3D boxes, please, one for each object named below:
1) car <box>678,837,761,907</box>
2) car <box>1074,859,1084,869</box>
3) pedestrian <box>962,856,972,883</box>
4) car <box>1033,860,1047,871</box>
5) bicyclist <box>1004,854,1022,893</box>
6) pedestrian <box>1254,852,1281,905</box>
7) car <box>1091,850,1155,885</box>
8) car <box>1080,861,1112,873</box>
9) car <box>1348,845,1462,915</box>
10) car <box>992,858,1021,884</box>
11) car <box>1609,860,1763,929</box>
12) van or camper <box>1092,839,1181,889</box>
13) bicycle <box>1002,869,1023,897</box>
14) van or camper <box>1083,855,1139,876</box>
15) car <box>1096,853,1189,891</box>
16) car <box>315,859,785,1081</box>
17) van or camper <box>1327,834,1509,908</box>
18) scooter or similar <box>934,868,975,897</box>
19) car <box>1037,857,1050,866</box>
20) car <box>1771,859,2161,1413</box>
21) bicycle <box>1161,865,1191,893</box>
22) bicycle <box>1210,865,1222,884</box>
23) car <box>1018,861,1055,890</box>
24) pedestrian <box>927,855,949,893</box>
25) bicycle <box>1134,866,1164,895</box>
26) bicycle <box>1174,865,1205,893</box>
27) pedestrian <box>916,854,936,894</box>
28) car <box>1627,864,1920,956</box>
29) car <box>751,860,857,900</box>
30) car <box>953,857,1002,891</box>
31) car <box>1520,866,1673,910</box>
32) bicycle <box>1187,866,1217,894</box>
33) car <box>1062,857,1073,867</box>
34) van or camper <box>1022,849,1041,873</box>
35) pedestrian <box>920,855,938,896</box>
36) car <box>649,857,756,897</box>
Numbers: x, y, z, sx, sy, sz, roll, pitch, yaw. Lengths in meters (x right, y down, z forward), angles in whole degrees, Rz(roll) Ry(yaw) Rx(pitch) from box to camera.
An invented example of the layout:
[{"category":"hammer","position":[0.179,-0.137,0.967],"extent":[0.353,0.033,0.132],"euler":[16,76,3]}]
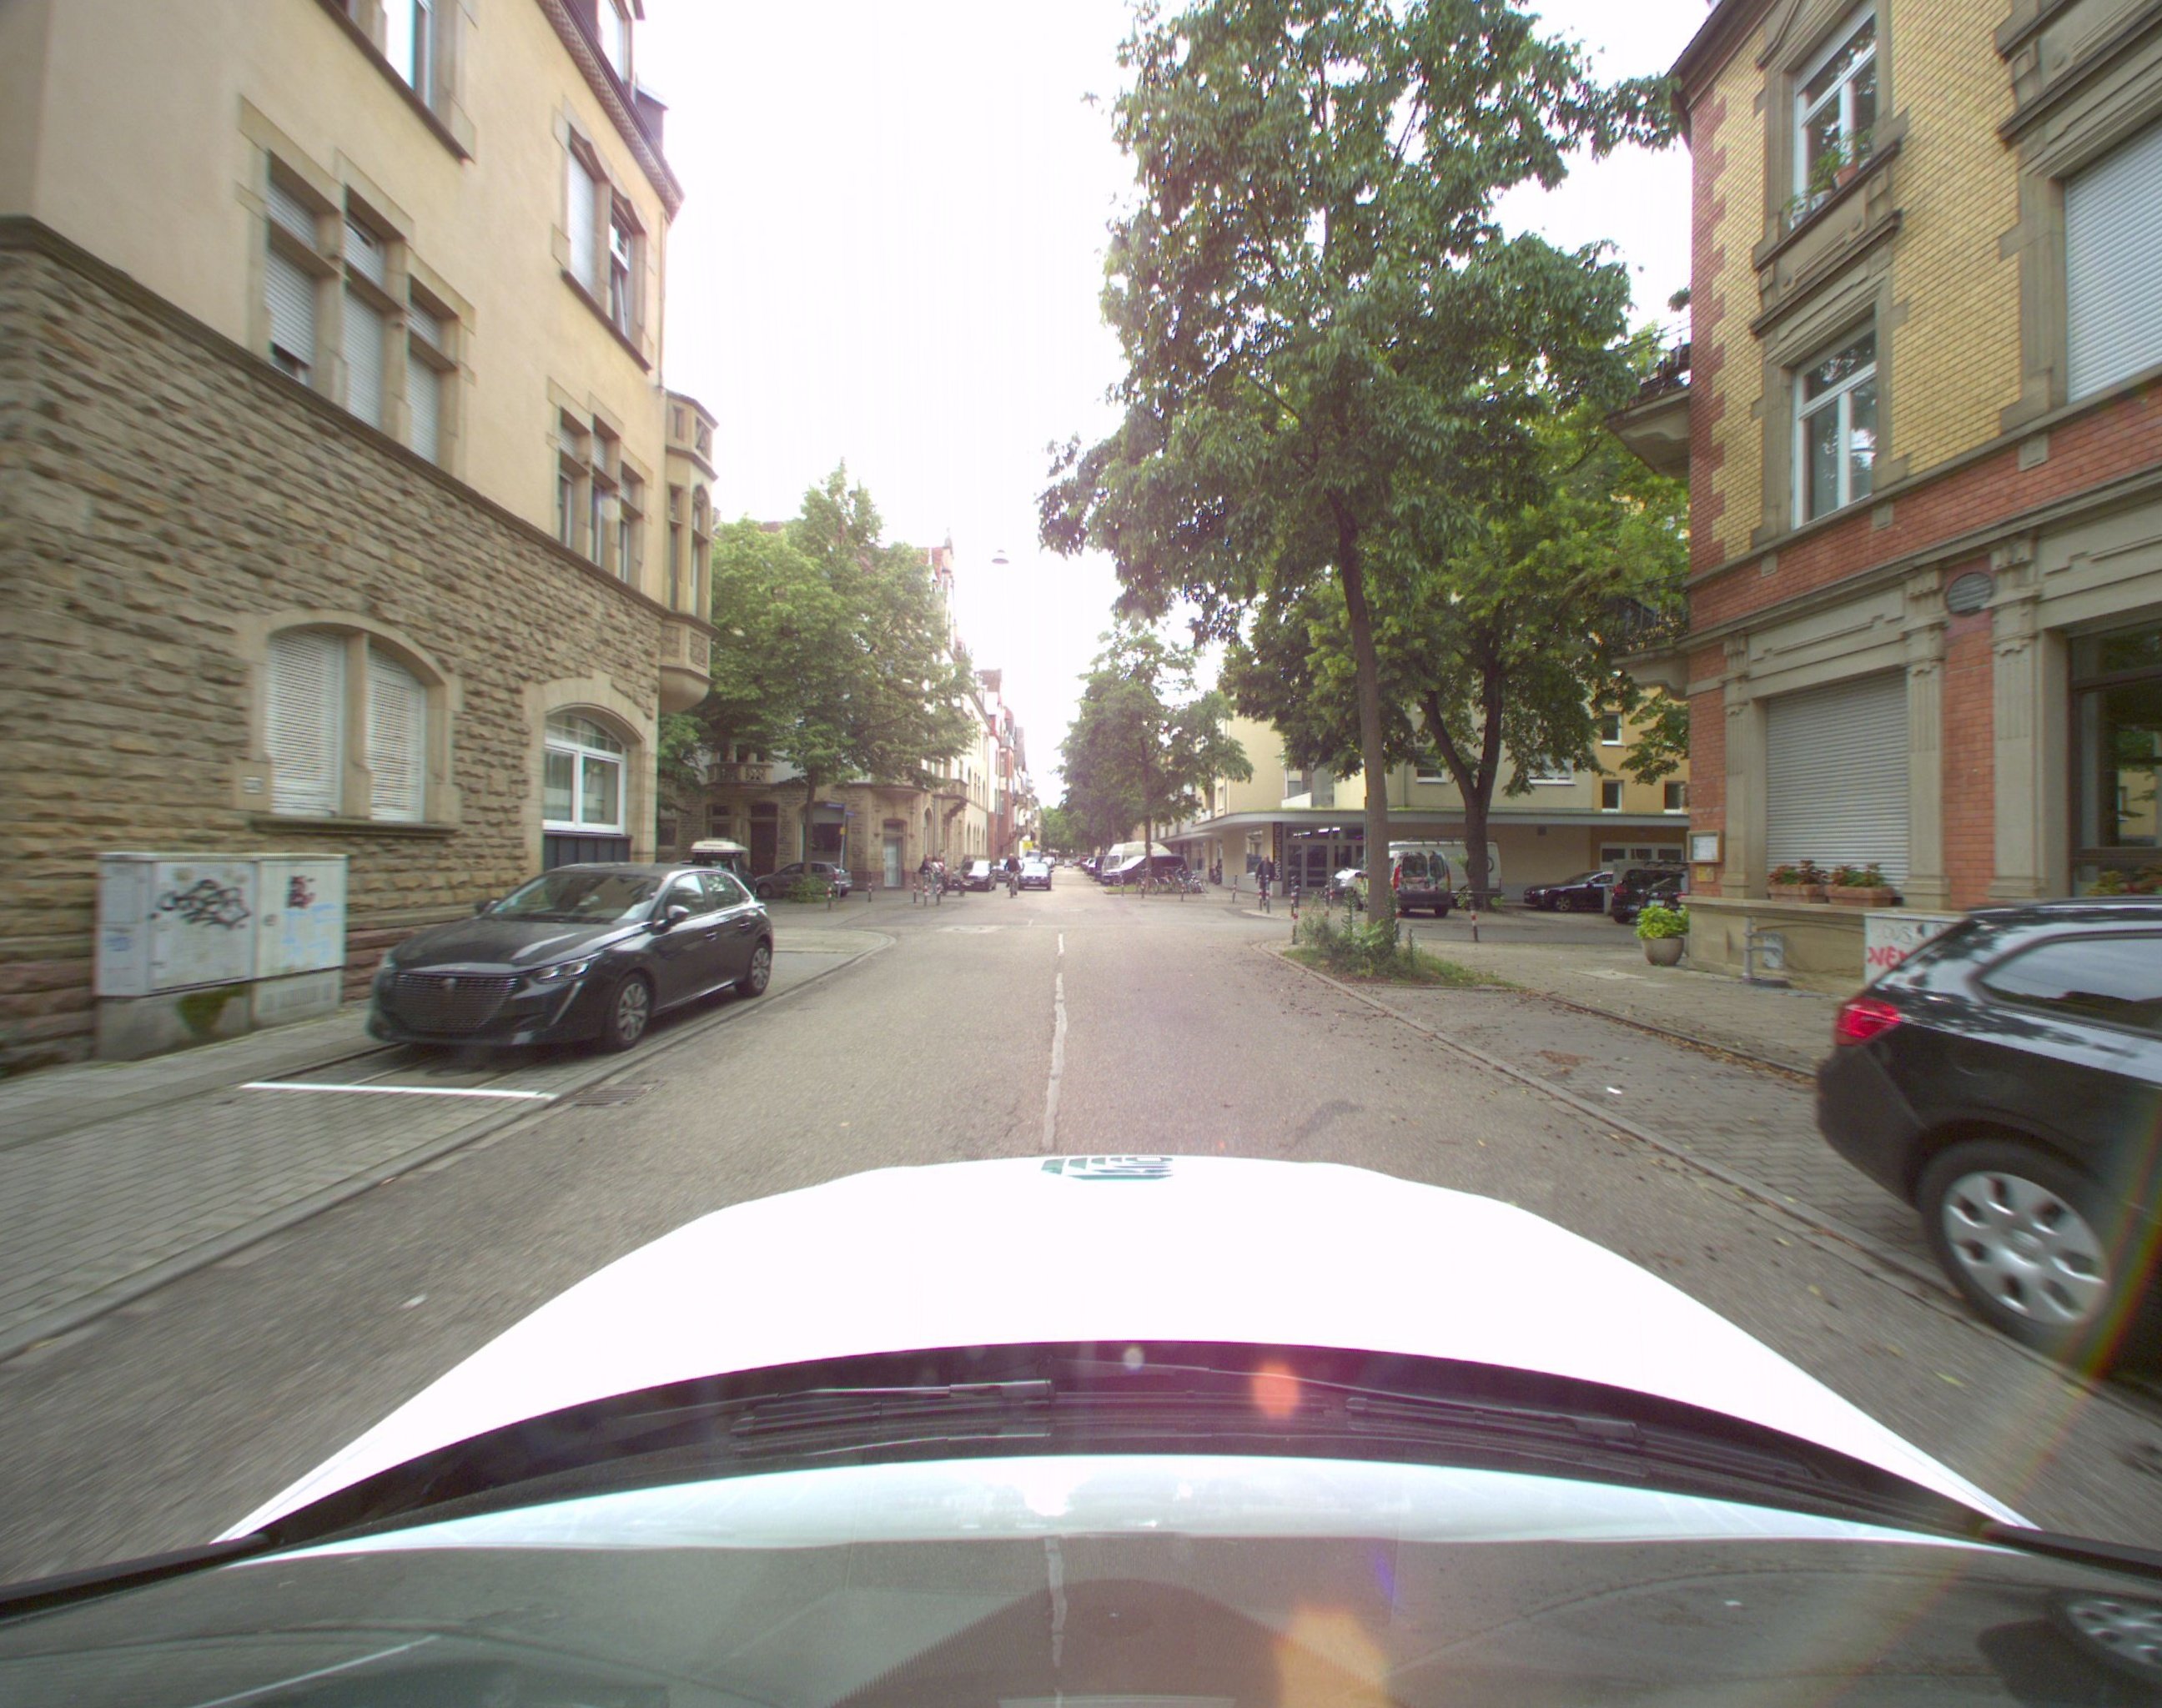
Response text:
[{"category":"car","position":[-10.987,0.514,25.009],"extent":[1.831,1.968,3.939],"euler":[0,-1,-17]},{"category":"car","position":[-0.501,2.228,182.863],"extent":[1.988,2.014,3.997],"euler":[3,-1,-1]},{"category":"pedestrian","position":[-6.616,0.898,47.134],"extent":[0.514,1.518,0.546],"euler":[0,-1,-1]},{"category":"car","position":[-5.822,1.672,115.628],"extent":[1.784,1.480,4.020],"euler":[1,-1,-1]},{"category":"bicyclist","position":[-2.711,0.763,32.565],"extent":[0.645,1.538,0.677],"euler":[0,-1,1]},{"category":"pedestrian","position":[6.418,0.838,28.059],"extent":[0.776,1.797,0.509],"euler":[1,-1,1]},{"category":"car","position":[2.800,0.877,53.129],"extent":[2.040,2.196,4.426],"euler":[0,-1,36]},{"category":"car","position":[2.079,1.789,112.485],"extent":[4.037,1.559,1.866],"euler":[1,-1,-32]},{"category":"car","position":[9.036,0.683,23.076],"extent":[1.763,1.819,4.001],"euler":[0,0,2]},{"category":"car","position":[-4.859,1.088,53.404],"extent":[1.642,1.570,2.955],"euler":[2,0,-2]},{"category":"car","position":[15.387,0.962,20.691],"extent":[3.963,1.581,1.669],"euler":[0,0,-29]},{"category":"van or camper","position":[3.042,0.529,44.243],"extent":[4.614,2.596,1.891],"euler":[1,-1,-34]},{"category":"bicycle","position":[-2.715,1.151,32.601],"extent":[0.631,1.094,1.799],"euler":[0,-1,1]},{"category":"van or camper","position":[2.918,1.090,79.200],"extent":[5.035,1.869,2.107],"euler":[-1,-1,-29]},{"category":"car","position":[3.147,0.910,41.395],"extent":[4.354,1.854,1.895],"euler":[1,-1,-26]},{"category":"car","position":[-4.300,0.799,7.461],"extent":[1.722,1.434,3.880],"euler":[2,0,-1]},{"category":"van or camper","position":[12.064,0.563,29.523],"extent":[5.740,2.494,2.141],"euler":[0,2,6]},{"category":"scooter or similar","position":[-5.196,1.155,33.564],"extent":[1.460,1.104,0.678],"euler":[2,0,10]},{"category":"car","position":[-6.420,1.326,138.822],"extent":[1.988,1.475,3.998],"euler":[0,0,-1]},{"category":"car","position":[3.856,0.770,1.235],"extent":[1.759,1.486,4.477],"euler":[-2,0,-1]},{"category":"bicycle","position":[4.107,1.062,35.313],"extent":[0.550,1.174,1.715],"euler":[0,0,-22]},{"category":"bicycle","position":[7.972,1.210,48.024],"extent":[0.483,1.090,1.701],"euler":[0,-1,1]},{"category":"car","position":[-2.255,1.096,42.140],"extent":[1.703,1.413,3.851],"euler":[0,-2,-1]},{"category":"pedestrian","position":[-6.120,0.855,34.849],"extent":[0.623,1.593,0.674],"euler":[0,-1,40]},{"category":"bicycle","position":[2.892,1.106,34.847],"extent":[0.550,1.174,1.715],"euler":[0,0,-22]},{"category":"bicycle","position":[4.736,1.092,35.635],"extent":[0.550,1.174,1.715],"euler":[0,0,-22]},{"category":"pedestrian","position":[-6.474,0.829,34.052],"extent":[0.612,1.643,0.605],"euler":[1,-1,11]},{"category":"car","position":[12.462,0.983,14.876],"extent":[3.803,1.541,1.663],"euler":[0,-2,5]},{"category":"car","position":[-10.878,0.995,32.122],"extent":[3.548,1.460,1.653],"euler":[-1,1,8]},{"category":"car","position":[-4.857,0.958,38.589],"extent":[1.703,1.495,3.999],"euler":[2,-2,1]},{"category":"car","position":[17.888,1.169,28.468],"extent":[4.141,1.428,1.912],"euler":[0,-1,11]},{"category":"bicycle","position":[5.329,1.120,35.952],"extent":[0.550,1.174,1.685],"euler":[0,0,-22]},{"category":"car","position":[-2.567,1.496,156.927],"extent":[1.987,1.794,3.999],"euler":[2,-2,0]},{"category":"van or camper","position":[-5.992,0.813,99.511],"extent":[2.002,2.651,5.315],"euler":[0,1,-1]},{"category":"pedestrian","position":[-6.253,0.891,33.446],"extent":[0.524,1.643,0.530],"euler":[2,-1,11]},{"category":"car","position":[-15.139,0.913,32.643],"extent":[3.471,1.460,1.653],"euler":[2,-2,8]}]
